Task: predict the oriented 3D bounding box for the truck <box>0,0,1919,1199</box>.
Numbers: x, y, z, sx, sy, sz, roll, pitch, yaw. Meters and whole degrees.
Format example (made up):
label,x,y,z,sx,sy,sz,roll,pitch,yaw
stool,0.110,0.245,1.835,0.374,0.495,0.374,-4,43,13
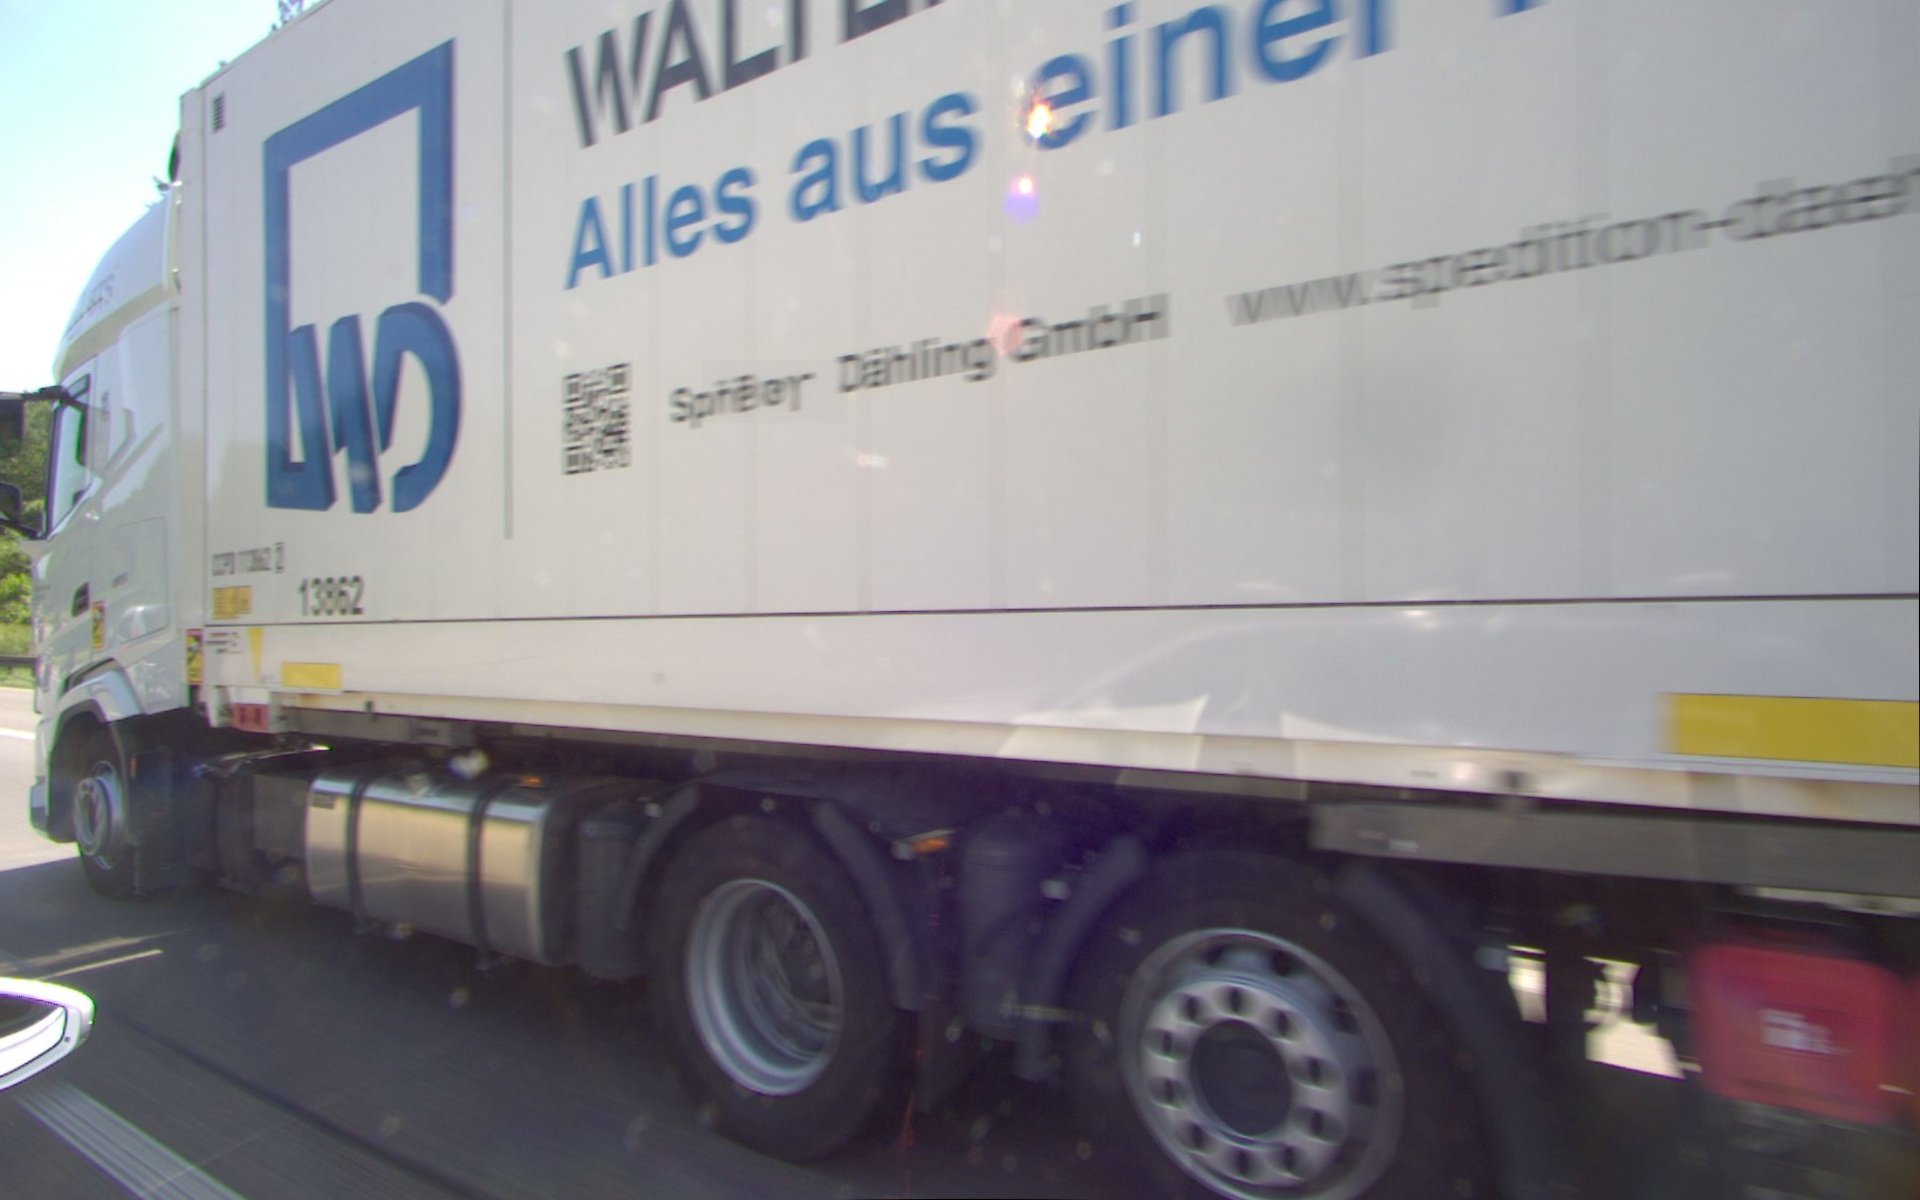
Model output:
label,x,y,z,sx,sy,sz,roll,pitch,yaw
truck,-1.384,-0.504,4.810,10.473,4.112,2.675,0,-1,33
